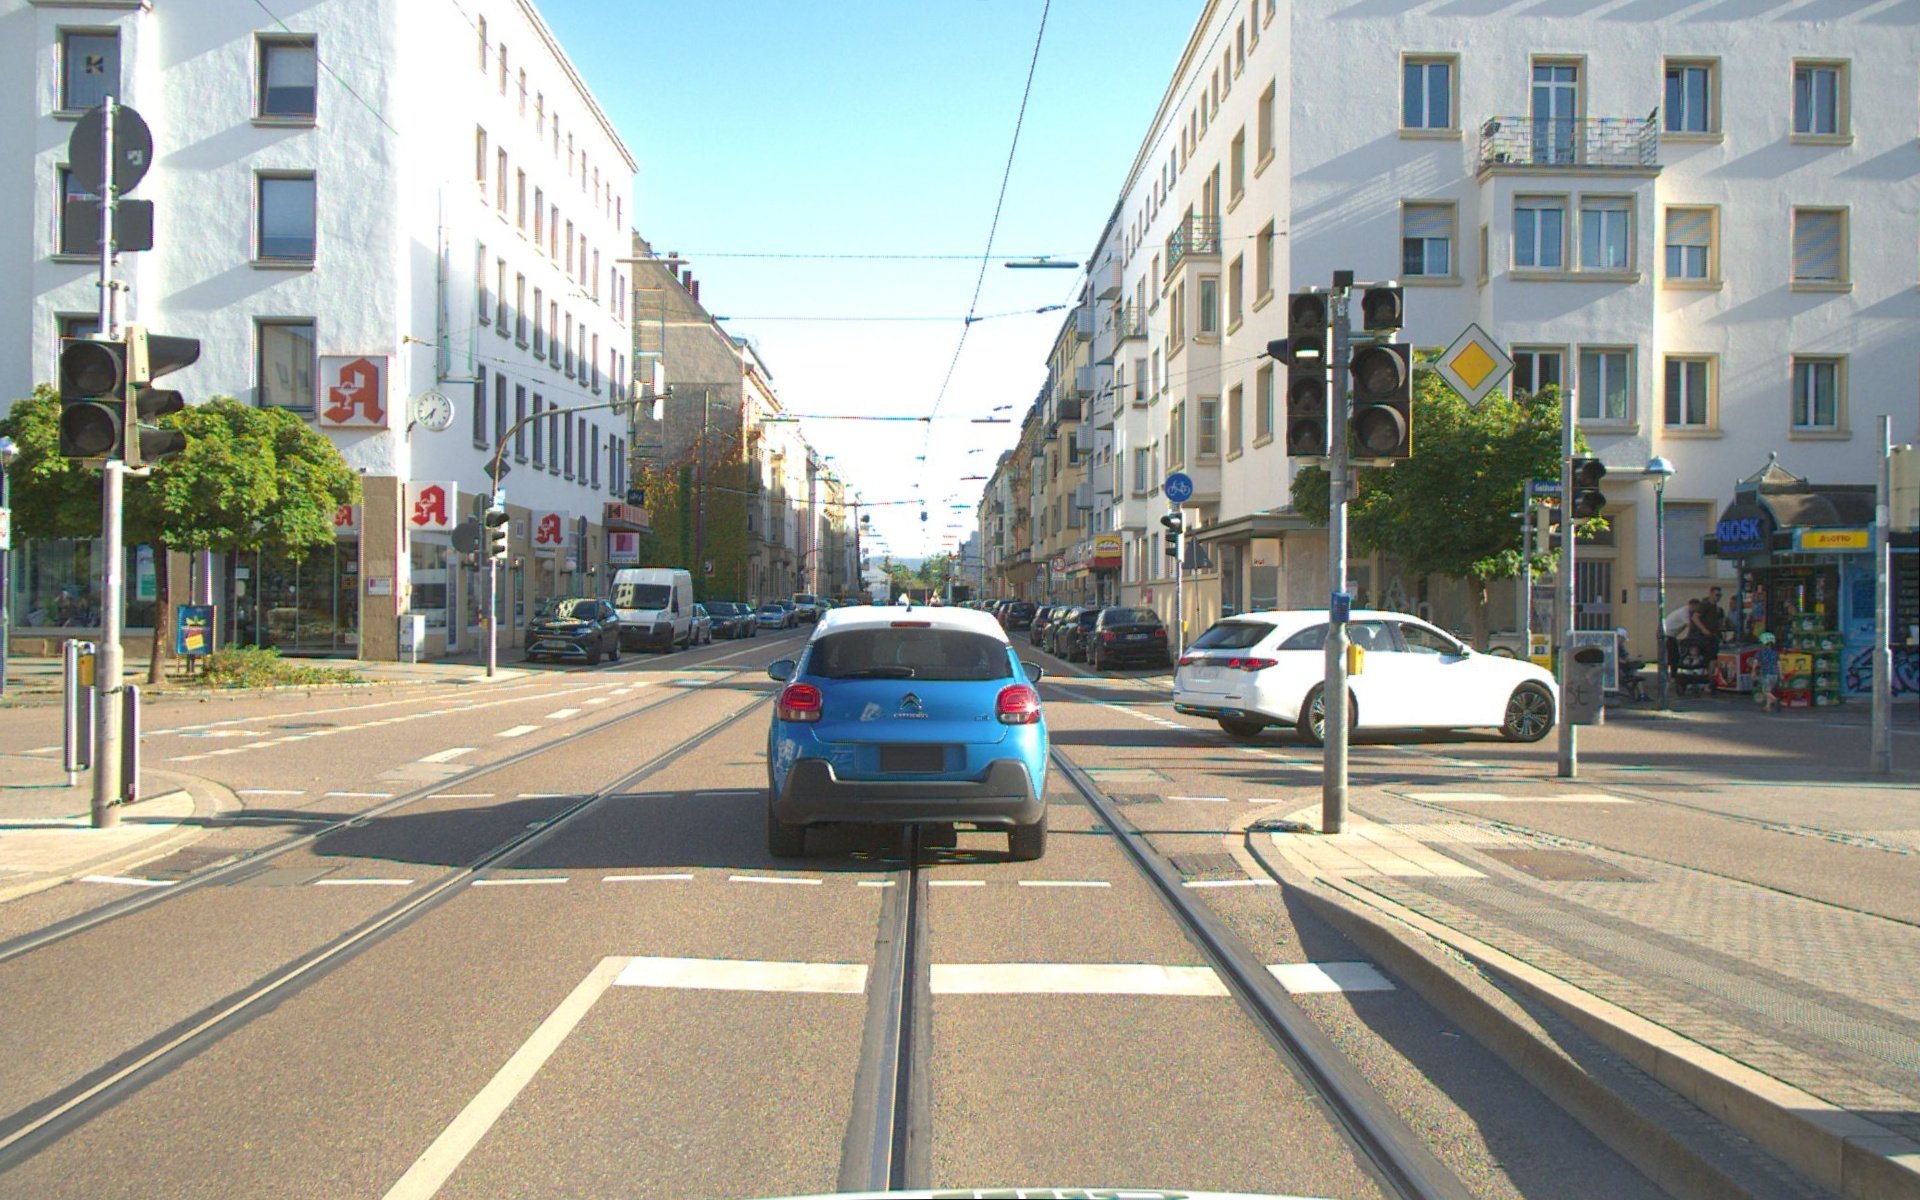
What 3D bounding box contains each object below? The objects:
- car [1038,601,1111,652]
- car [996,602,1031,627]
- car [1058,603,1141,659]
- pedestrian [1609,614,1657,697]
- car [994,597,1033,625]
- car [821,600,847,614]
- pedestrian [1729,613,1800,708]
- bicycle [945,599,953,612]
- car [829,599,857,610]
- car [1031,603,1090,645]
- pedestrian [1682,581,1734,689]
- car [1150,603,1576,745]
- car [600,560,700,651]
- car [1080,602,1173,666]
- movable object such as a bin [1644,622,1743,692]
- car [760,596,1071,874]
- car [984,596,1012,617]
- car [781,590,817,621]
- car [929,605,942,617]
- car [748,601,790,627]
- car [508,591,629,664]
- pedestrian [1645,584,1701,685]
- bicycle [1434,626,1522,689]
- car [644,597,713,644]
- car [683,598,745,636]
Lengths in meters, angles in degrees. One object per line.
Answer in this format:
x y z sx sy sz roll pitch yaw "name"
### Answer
3.490 0.786 51.026 1.953 1.527 4.000 0 0 0 "car"
3.131 0.844 98.004 1.953 1.490 4.000 0 0 0 "car"
3.829 0.822 46.037 1.953 1.490 4.000 0 0 0 "car"
11.187 0.912 27.499 0.725 1.339 0.628 0 0 23 "pedestrian"
2.891 0.595 90.348 1.953 1.490 4.504 0 0 0 "car"
-10.824 0.605 142.131 1.953 1.176 4.000 0 0 0 "car"
12.703 0.947 26.136 0.715 1.434 0.755 0 3 -1 "pedestrian"
-1.311 0.639 192.825 0.901 1.413 3.132 0 0 0 "bicycle"
-12.224 0.443 173.018 1.951 1.176 4.518 0 0 9 "car"
3.688 0.865 61.225 1.953 1.490 4.000 0 0 0 "car"
13.231 0.614 29.268 0.639 1.871 0.659 0 0 2 "pedestrian"
4.768 0.830 19.472 4.741 1.490 1.974 1 0 -26 "car"
-9.438 0.161 50.877 2.043 2.586 6.203 1 0 -2 "car"
4.045 0.807 40.699 1.870 1.490 4.000 0 0 0 "car"
12.675 0.976 28.630 1.174 1.173 1.217 0 0 0 "movable object such as a bin"
-0.273 0.752 11.090 1.693 1.508 3.826 1 0 -1 "car"
2.746 0.495 121.522 1.953 1.490 4.000 0 0 0 "car"
-11.166 0.412 114.982 1.965 2.049 4.690 1 -1 1 "car"
-3.786 1.624 252.867 1.953 1.803 3.999 0 0 -1 "car"
-10.521 0.783 91.357 1.953 1.348 3.921 1 -1 -2 "car"
-9.515 0.658 40.512 1.953 1.596 4.401 3 -1 -2 "car"
13.369 0.638 31.015 0.768 1.871 0.678 0 0 2 "pedestrian"
9.681 1.075 30.955 1.534 1.140 0.300 1 -1 10 "bicycle"
-9.731 0.707 57.467 1.850 1.522 3.560 1 -1 -2 "car"
-9.811 0.692 66.150 1.953 1.422 4.155 1 -1 -2 "car"
